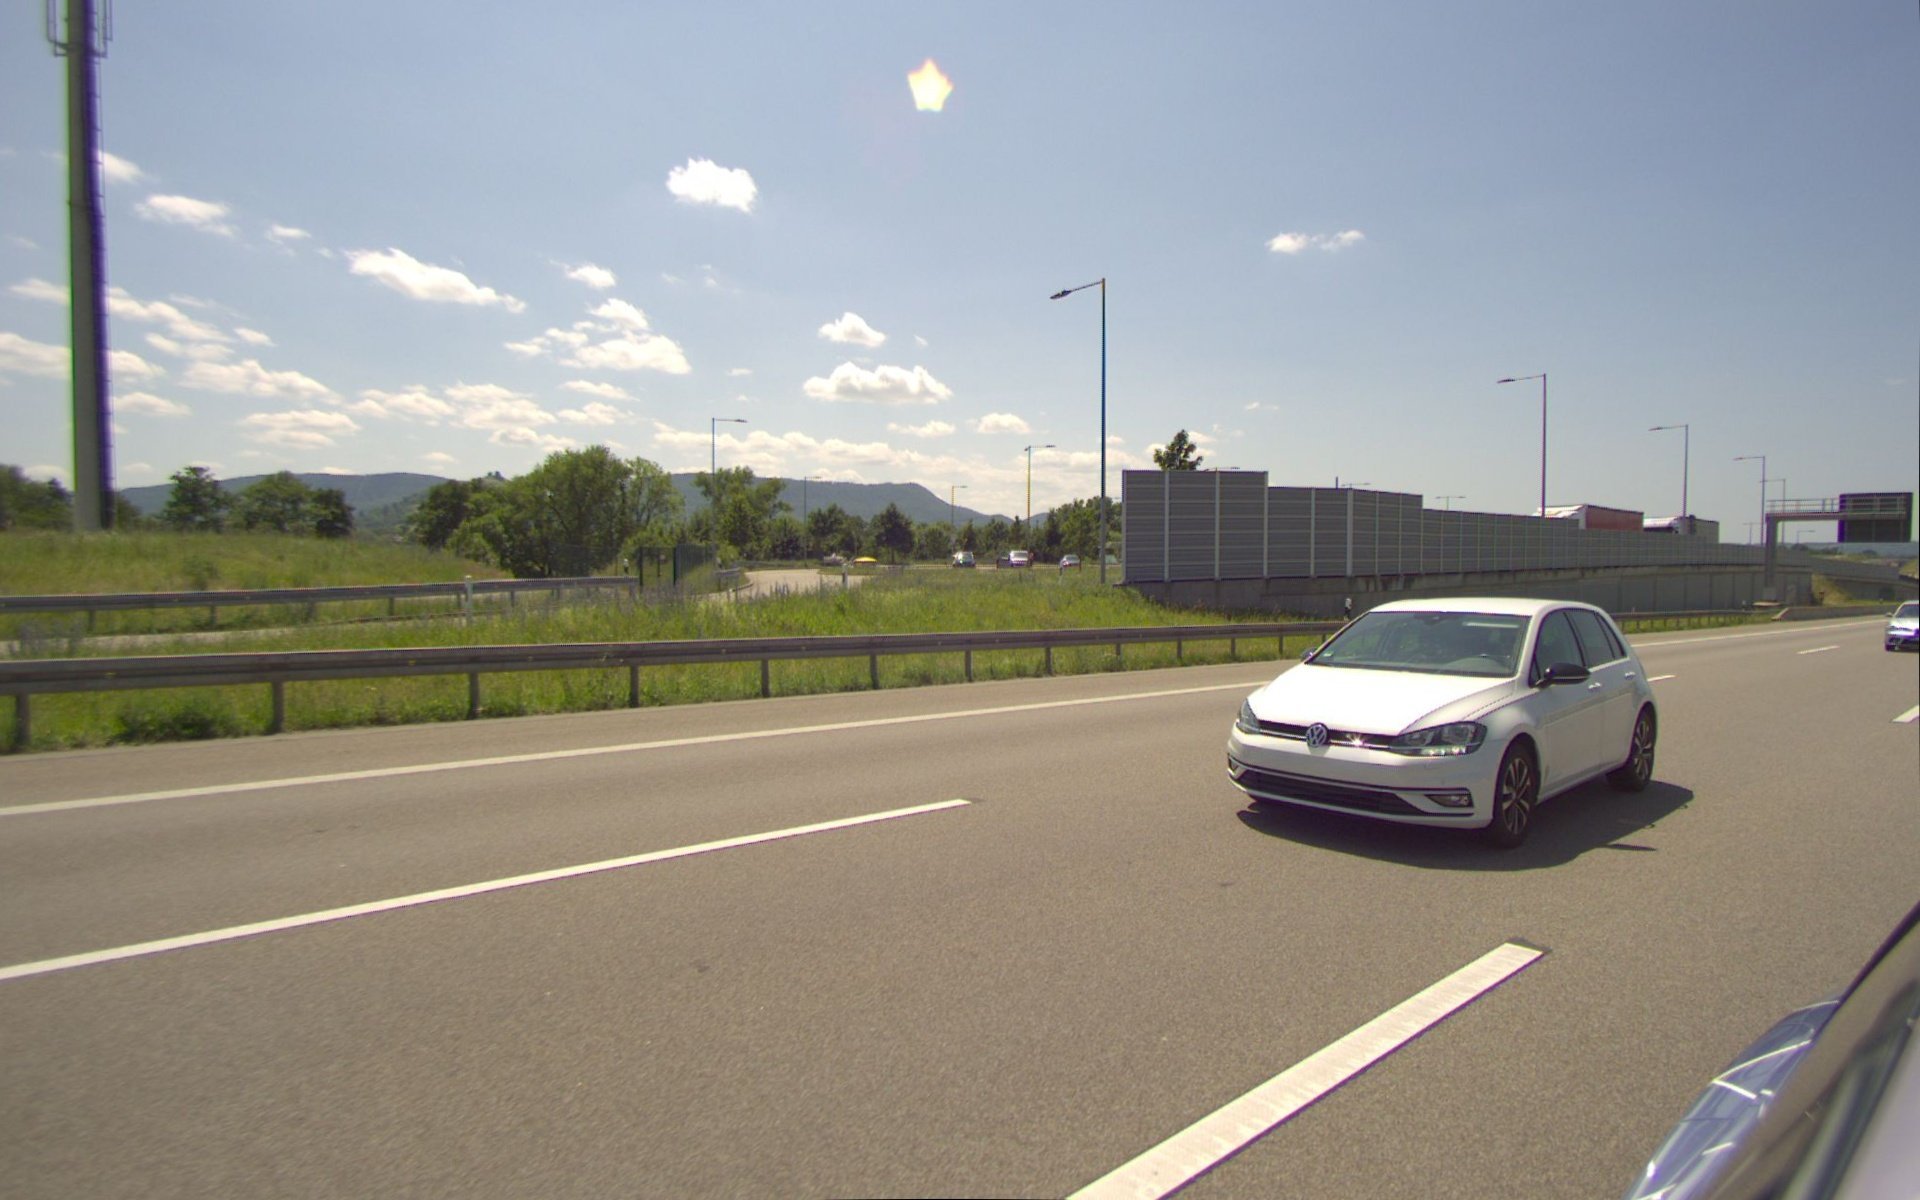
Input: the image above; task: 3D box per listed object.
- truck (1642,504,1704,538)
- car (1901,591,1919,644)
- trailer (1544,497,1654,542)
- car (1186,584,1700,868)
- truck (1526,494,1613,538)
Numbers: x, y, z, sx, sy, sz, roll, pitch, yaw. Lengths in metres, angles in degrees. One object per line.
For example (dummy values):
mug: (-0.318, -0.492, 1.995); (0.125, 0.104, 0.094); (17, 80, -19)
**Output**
truck: (55.018, -6.017, 78.047); (5.934, 2.258, 2.726); (-1, 1, -43)
car: (27.677, 0.463, 28.344); (3.932, 1.406, 1.632); (-1, 1, -43)
trailer: (41.988, -5.133, 66.171); (13.786, 2.252, 2.722); (-1, 1, -43)
car: (3.782, 0.626, 7.463); (4.610, 1.451, 1.778); (-1, 1, -42)
truck: (37.161, -5.060, 61.613); (7.165, 2.232, 2.710); (-1, 1, -43)
